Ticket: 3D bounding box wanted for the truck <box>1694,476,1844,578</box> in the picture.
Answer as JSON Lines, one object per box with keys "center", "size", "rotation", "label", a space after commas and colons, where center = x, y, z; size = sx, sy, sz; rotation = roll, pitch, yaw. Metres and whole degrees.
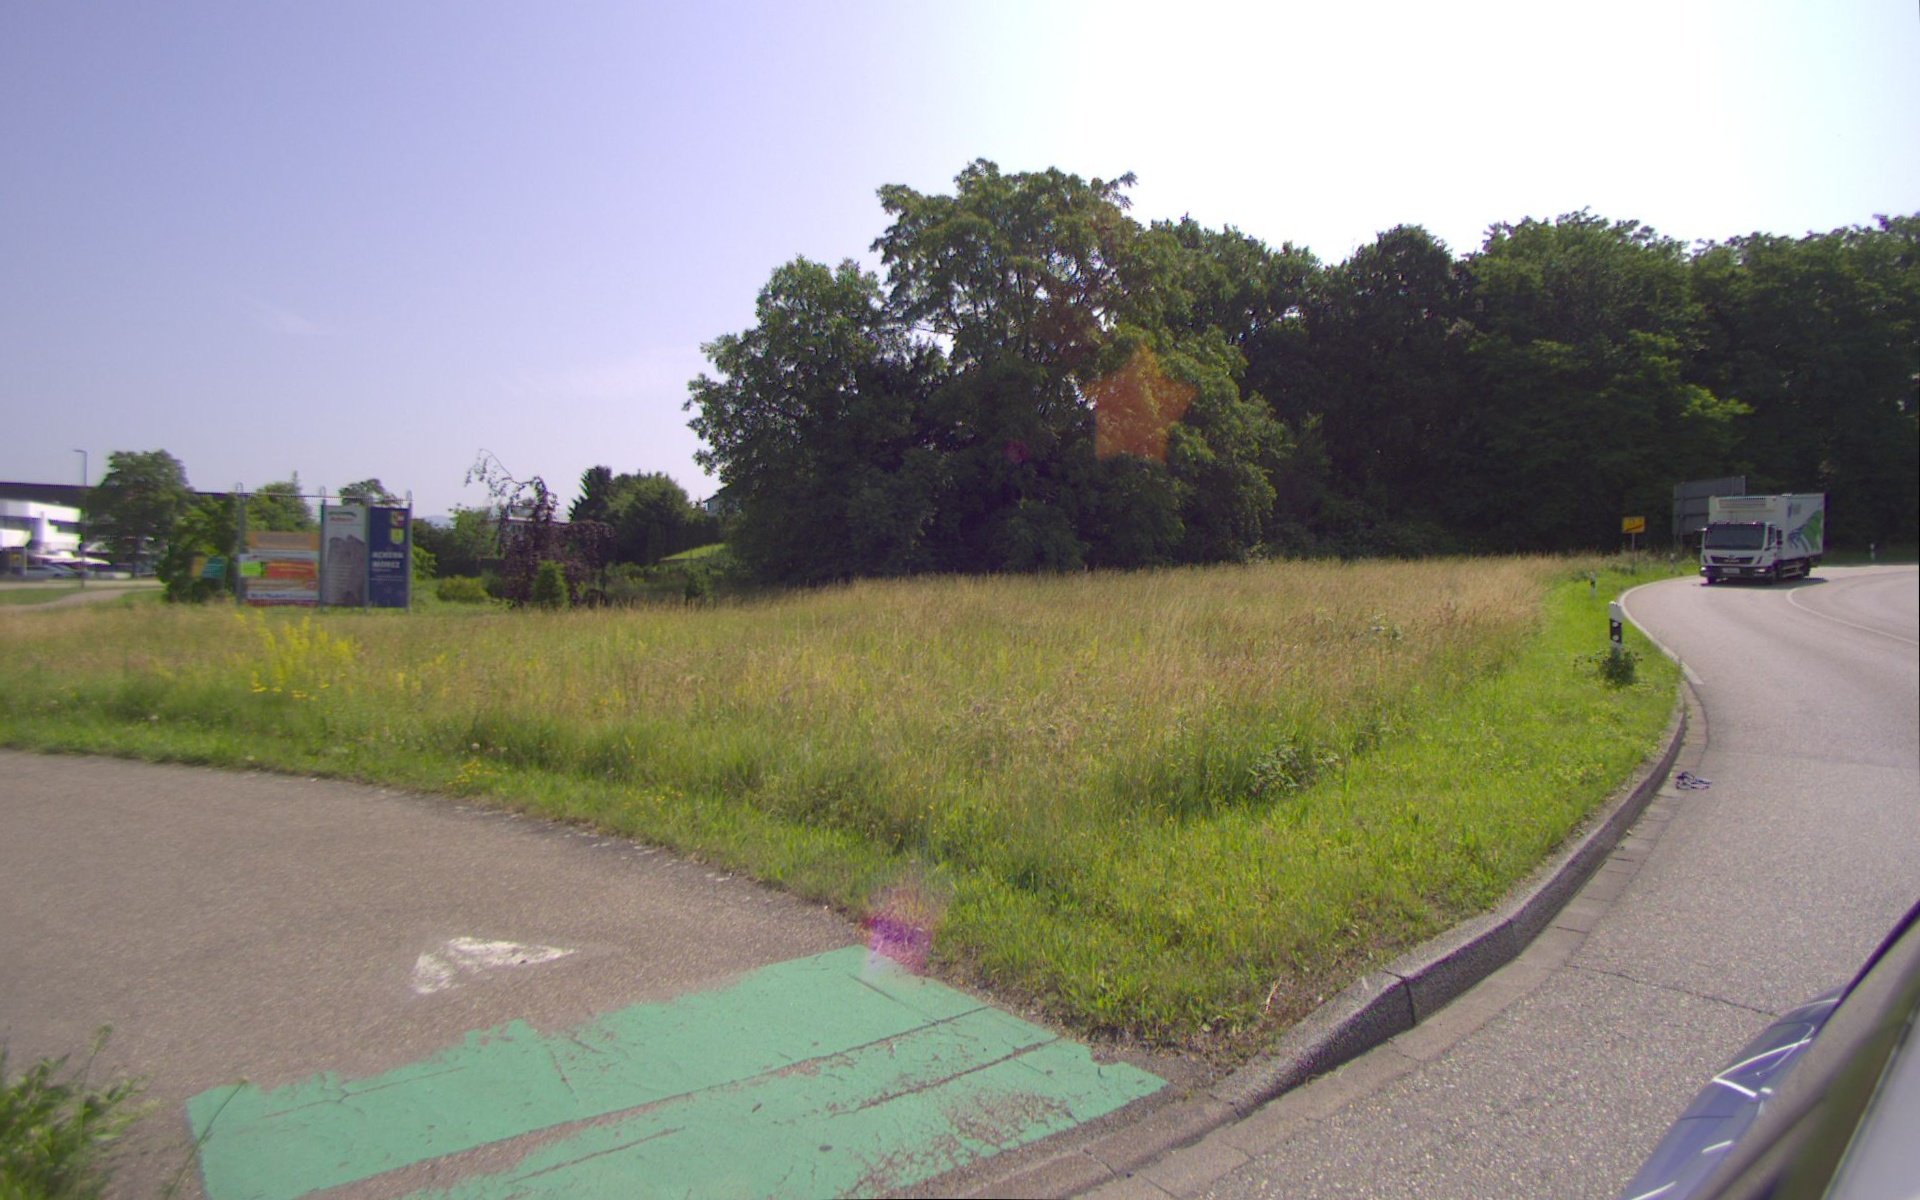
{"center": [34.233, -2.935, 42.669], "size": [8.858, 3.877, 2.898], "rotation": [-2, 1, -37], "label": "truck"}
